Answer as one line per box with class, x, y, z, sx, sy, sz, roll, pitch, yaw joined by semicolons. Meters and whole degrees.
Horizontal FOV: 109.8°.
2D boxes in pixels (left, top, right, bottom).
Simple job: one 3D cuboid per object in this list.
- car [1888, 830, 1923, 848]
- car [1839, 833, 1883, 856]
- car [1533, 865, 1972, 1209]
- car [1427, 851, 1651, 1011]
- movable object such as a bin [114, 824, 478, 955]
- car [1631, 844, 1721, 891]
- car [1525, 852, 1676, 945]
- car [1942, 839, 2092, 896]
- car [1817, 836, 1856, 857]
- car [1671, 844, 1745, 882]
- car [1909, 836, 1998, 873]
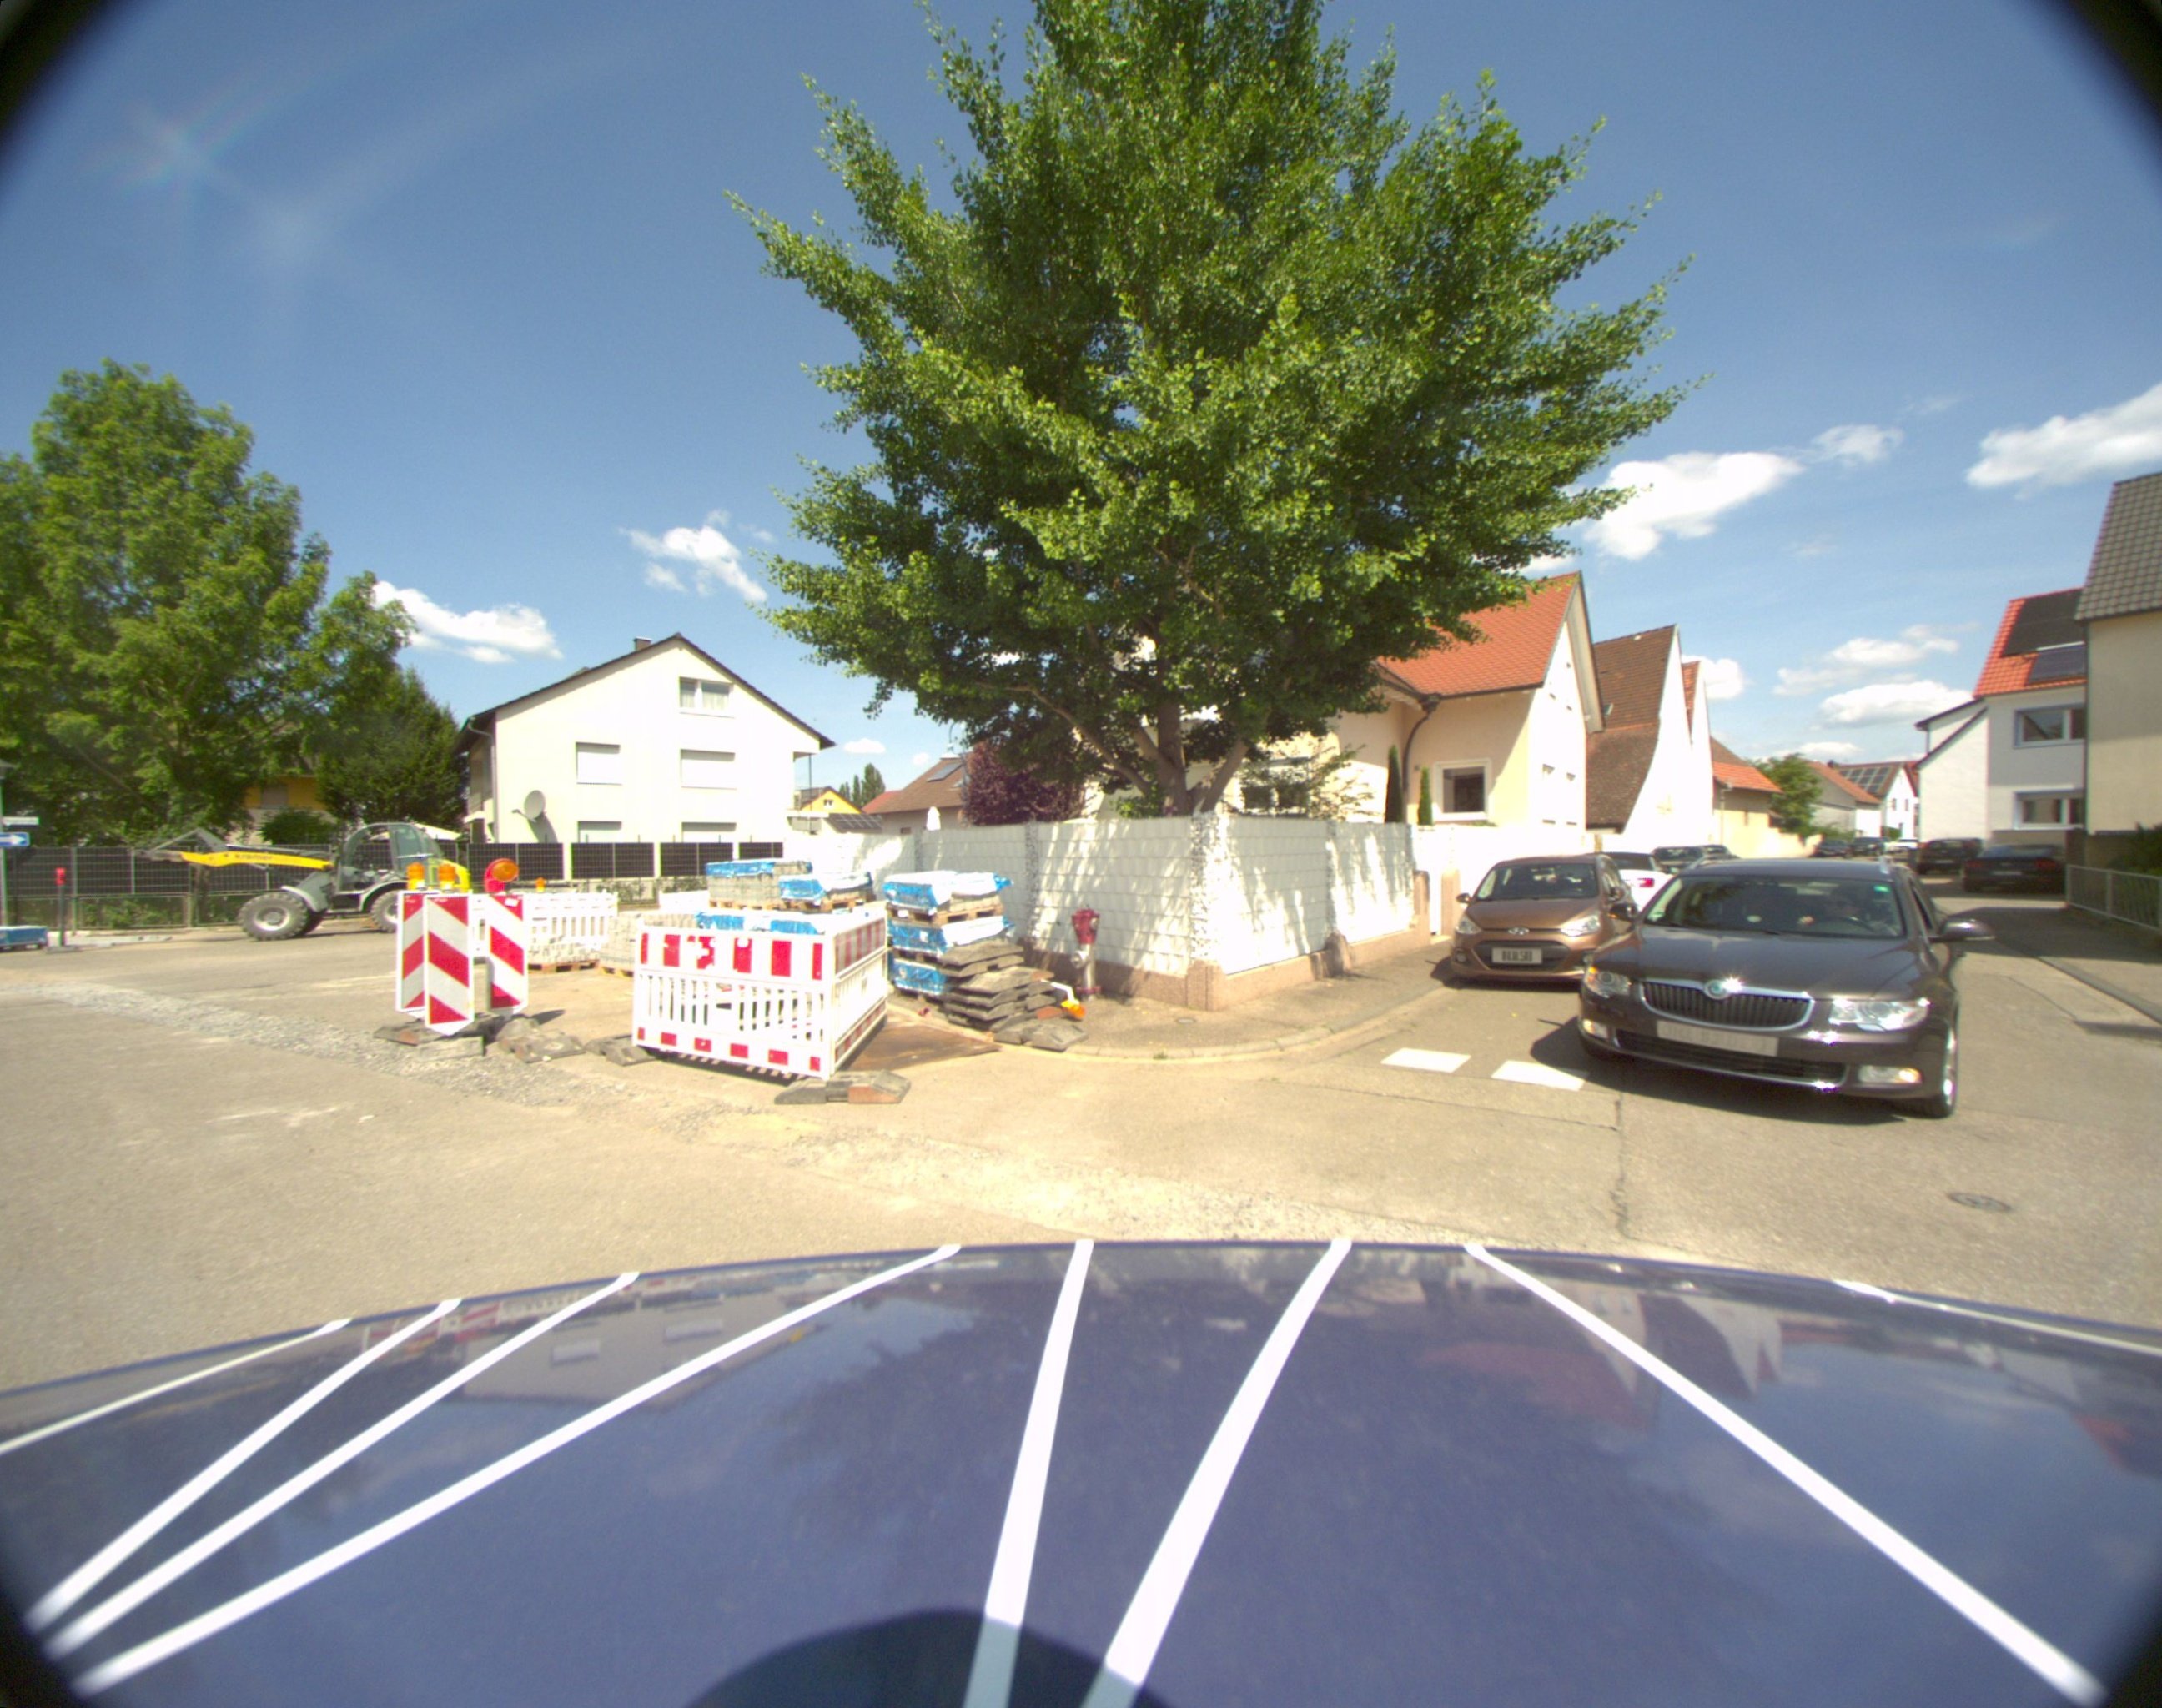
car;79.015;-1.454;72.799;4.046;1.491;1.782;-2;-1;-36
car;62.405;-0.766;60.767;4.007;1.599;1.782;-2;-1;-36
car;5.235;0.866;5.666;4.720;1.526;1.781;1;0;-41
car;6.012;0.821;9.738;1.713;1.523;4.043;-4;-1;41
movable object such as a bin;-16.571;0.635;16.605;5.241;2.438;1.995;-2;0;-38
car;19.799;0.391;25.212;1.896;1.357;4.746;0;1;44
car;10.280;0.723;14.850;1.896;1.420;4.746;0;1;41
car;26.413;0.342;21.417;4.475;1.341;1.772;-2;0;-27
car;54.986;-0.582;55.303;4.008;1.471;1.781;-2;2;-42
car;25.658;0.331;31.040;4.423;1.357;1.896;-2;1;-45
car;35.978;0.011;31.312;3.792;1.446;1.639;-1;0;-29
